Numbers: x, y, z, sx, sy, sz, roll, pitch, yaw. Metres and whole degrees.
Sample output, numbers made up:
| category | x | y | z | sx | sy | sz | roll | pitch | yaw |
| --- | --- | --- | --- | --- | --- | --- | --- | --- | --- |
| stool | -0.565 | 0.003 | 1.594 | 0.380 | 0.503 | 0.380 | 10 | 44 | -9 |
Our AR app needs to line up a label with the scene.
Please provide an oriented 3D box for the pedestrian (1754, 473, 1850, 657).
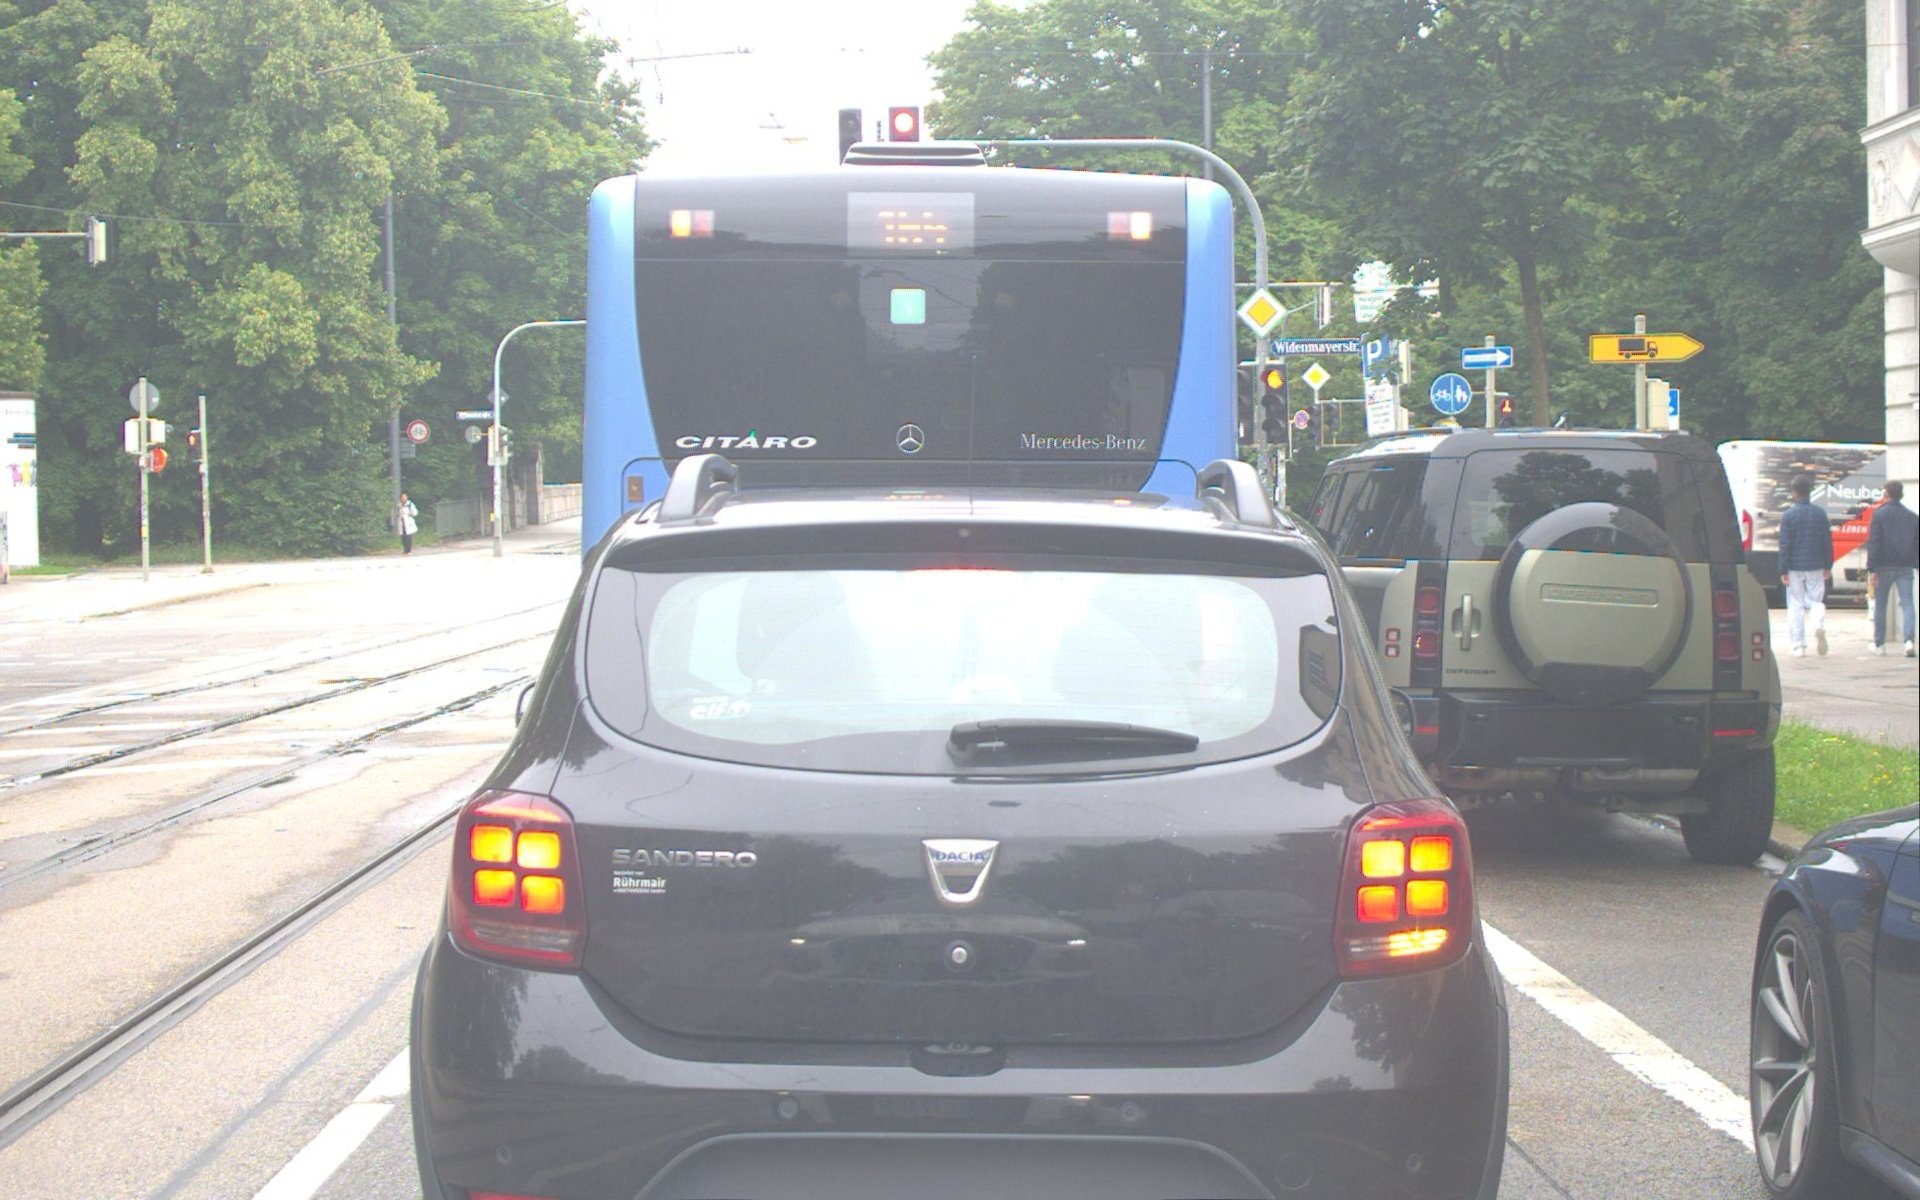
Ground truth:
| category | x | y | z | sx | sy | sz | roll | pitch | yaw |
| --- | --- | --- | --- | --- | --- | --- | --- | --- | --- |
| pedestrian | 8.462 | -0.353 | 34.583 | 0.705 | 1.810 | 0.870 | 1 | 1 | -1 |

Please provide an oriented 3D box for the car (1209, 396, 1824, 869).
| category | x | y | z | sx | sy | sz | roll | pitch | yaw |
| --- | --- | --- | --- | --- | --- | --- | --- | --- | --- |
| car | 2.453 | 0.089 | 16.479 | 1.914 | 1.899 | 4.809 | 1 | 1 | -3 |

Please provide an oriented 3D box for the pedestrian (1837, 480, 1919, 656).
| category | x | y | z | sx | sy | sz | roll | pitch | yaw |
| --- | --- | --- | --- | --- | --- | --- | --- | --- | --- |
| pedestrian | 9.252 | -0.326 | 34.388 | 0.705 | 1.726 | 0.843 | 1 | 1 | -1 |

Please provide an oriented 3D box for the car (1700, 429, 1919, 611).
| category | x | y | z | sx | sy | sz | roll | pitch | yaw |
| --- | --- | --- | --- | --- | --- | --- | --- | --- | --- |
| car | 14.020 | -1.167 | 51.442 | 5.295 | 2.603 | 2.231 | 1 | 1 | -3 |

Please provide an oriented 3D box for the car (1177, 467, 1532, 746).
| category | x | y | z | sx | sy | sz | roll | pitch | yaw |
| --- | --- | --- | --- | --- | --- | --- | --- | --- | --- |
| car | 2.429 | -0.002 | 22.150 | 1.714 | 1.586 | 4.327 | 1 | 1 | -1 |

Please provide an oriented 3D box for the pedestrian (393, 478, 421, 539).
| category | x | y | z | sx | sy | sz | roll | pitch | yaw |
| --- | --- | --- | --- | --- | --- | --- | --- | --- | --- |
| pedestrian | -13.756 | -2.263 | 85.479 | 0.532 | 1.496 | 0.588 | 1 | 1 | 4 |

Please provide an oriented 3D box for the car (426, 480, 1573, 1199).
| category | x | y | z | sx | sy | sz | roll | pitch | yaw |
| --- | --- | --- | --- | --- | --- | --- | --- | --- | --- |
| car | 0.016 | 0.590 | 6.624 | 1.600 | 1.551 | 3.525 | 1 | 1 | -1 |

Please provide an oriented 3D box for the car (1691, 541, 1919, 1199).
| category | x | y | z | sx | sy | sz | roll | pitch | yaw |
| --- | --- | --- | --- | --- | --- | --- | --- | --- | --- |
| car | 2.651 | 0.631 | 5.852 | 1.716 | 1.421 | 4.603 | 1 | 1 | -1 |

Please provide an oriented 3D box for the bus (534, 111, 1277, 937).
| category | x | y | z | sx | sy | sz | roll | pitch | yaw |
| --- | --- | --- | --- | --- | --- | --- | --- | --- | --- |
| bus | -0.343 | -0.337 | 16.151 | 2.678 | 2.987 | 6.962 | 1 | 1 | -2 |
